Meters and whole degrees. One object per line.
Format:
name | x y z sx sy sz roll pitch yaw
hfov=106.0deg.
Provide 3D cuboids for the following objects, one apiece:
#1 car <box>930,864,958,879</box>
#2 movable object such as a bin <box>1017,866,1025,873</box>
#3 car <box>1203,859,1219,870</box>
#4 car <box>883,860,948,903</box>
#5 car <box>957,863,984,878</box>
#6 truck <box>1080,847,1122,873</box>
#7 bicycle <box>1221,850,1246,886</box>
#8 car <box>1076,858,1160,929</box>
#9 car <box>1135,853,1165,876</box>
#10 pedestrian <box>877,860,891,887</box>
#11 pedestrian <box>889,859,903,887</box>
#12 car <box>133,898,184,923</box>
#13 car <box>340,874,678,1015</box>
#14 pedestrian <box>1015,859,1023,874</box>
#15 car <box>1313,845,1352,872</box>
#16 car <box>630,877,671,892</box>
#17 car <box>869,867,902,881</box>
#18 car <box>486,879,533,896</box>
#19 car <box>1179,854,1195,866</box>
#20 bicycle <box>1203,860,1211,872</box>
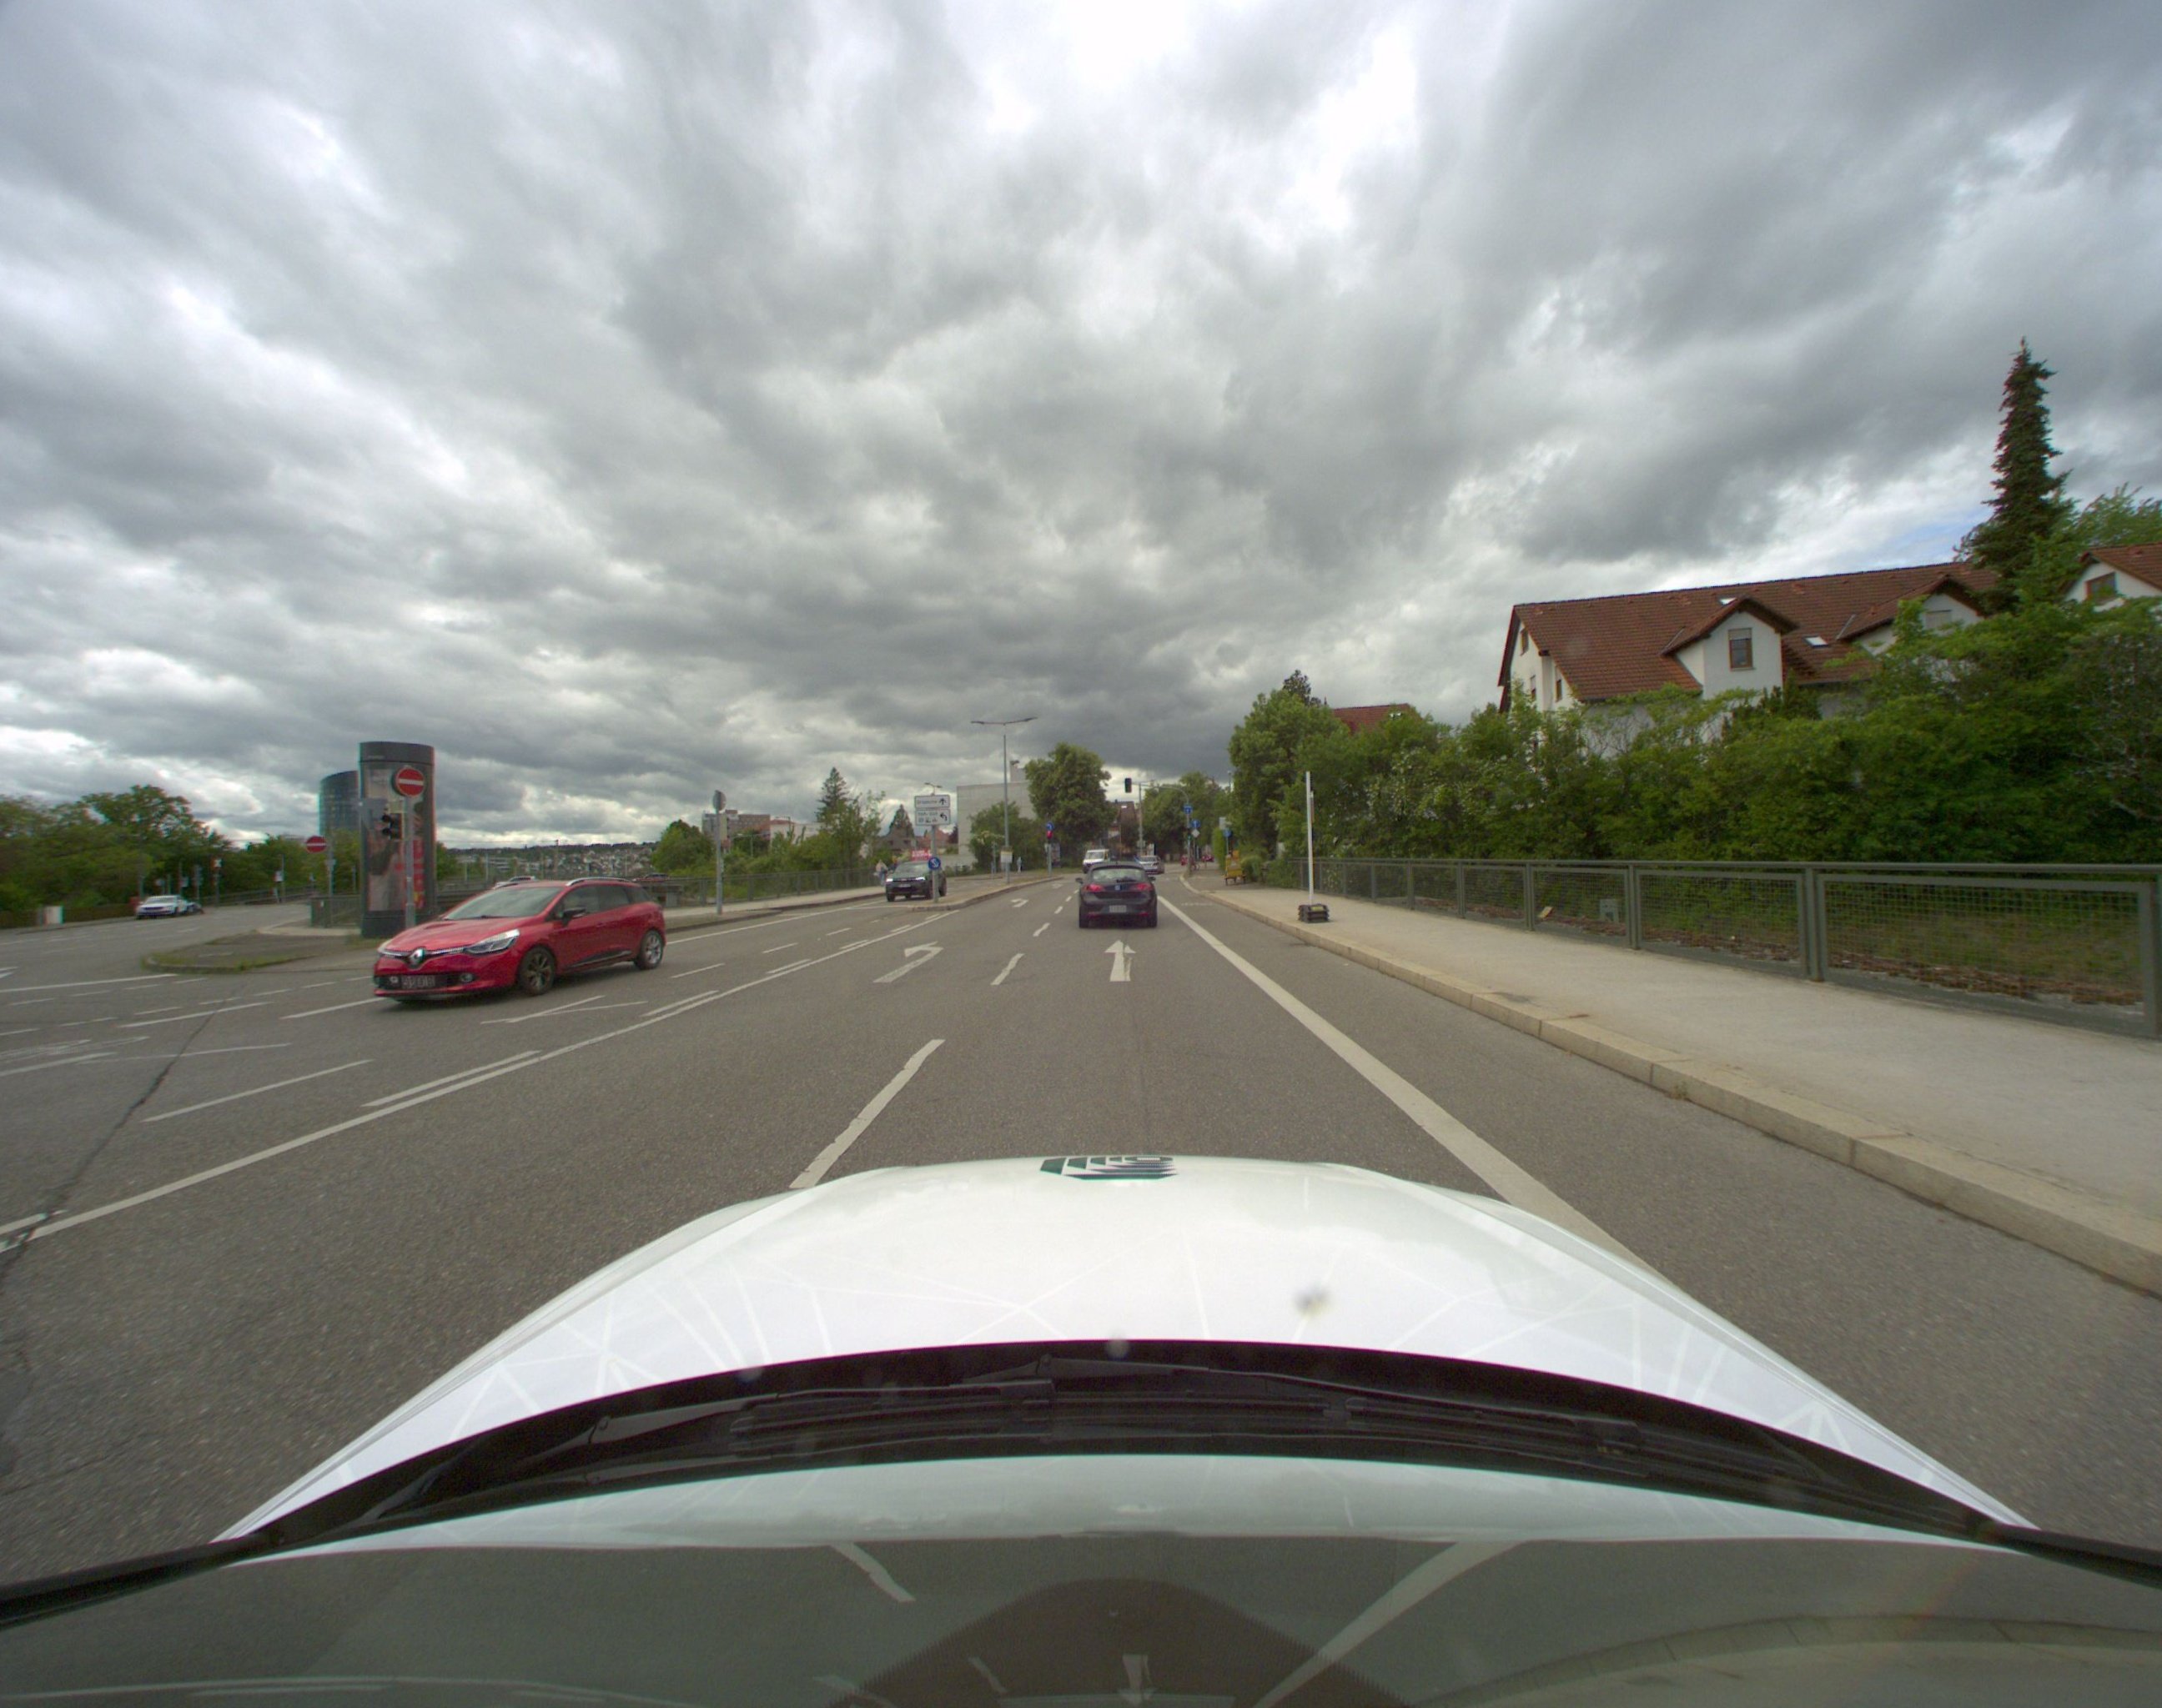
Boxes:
car | -18.882 2.376 112.492 1.976 2.014 4.021 0 0 21
movable object such as a bin | -6.459 1.670 87.559 0.651 0.798 0.900 -2 -1 10
car | 22.306 1.786 139.723 1.977 1.684 4.019 -2 -1 18
car | -6.911 1.110 34.445 1.816 1.626 4.279 -2 0 0
car | -14.990 2.252 110.662 1.976 2.014 4.021 0 0 21
truck | 1.982 0.533 78.730 2.108 2.264 6.837 -3 -1 18
bicycle | 6.954 0.606 37.267 0.886 1.510 2.789 -4 0 8
car | 0.948 0.848 18.988 1.750 1.448 3.720 0 0 6
car | 5.509 0.798 64.824 1.807 1.699 4.266 -3 0 11
pedestrian | -11.774 1.153 48.735 0.654 1.633 0.832 -1 -1 -4
pedestrian | -11.052 1.125 48.684 0.654 1.633 1.069 -1 -1 -4
car | -67.769 4.142 59.886 1.910 1.607 4.324 -2 -1 -41
car | -7.567 1.090 11.370 1.714 1.448 4.067 -3 0 1
pedestrian | -6.598 1.322 86.863 0.651 1.522 0.926 -2 -1 10
car | 15.121 0.268 49.147 1.657 1.449 4.011 -3 -1 10
car | -50.823 3.568 96.120 3.999 1.662 1.787 1 0 -19
car | -24.682 2.466 102.715 1.779 1.554 4.024 -2 -1 27
car | -61.915 3.623 88.196 4.020 1.662 1.716 1 0 -40
car | 14.043 0.779 107.677 1.932 1.481 4.260 -3 0 6
bicycle | 11.109 1.062 71.701 0.624 1.028 1.508 -2 0 10
